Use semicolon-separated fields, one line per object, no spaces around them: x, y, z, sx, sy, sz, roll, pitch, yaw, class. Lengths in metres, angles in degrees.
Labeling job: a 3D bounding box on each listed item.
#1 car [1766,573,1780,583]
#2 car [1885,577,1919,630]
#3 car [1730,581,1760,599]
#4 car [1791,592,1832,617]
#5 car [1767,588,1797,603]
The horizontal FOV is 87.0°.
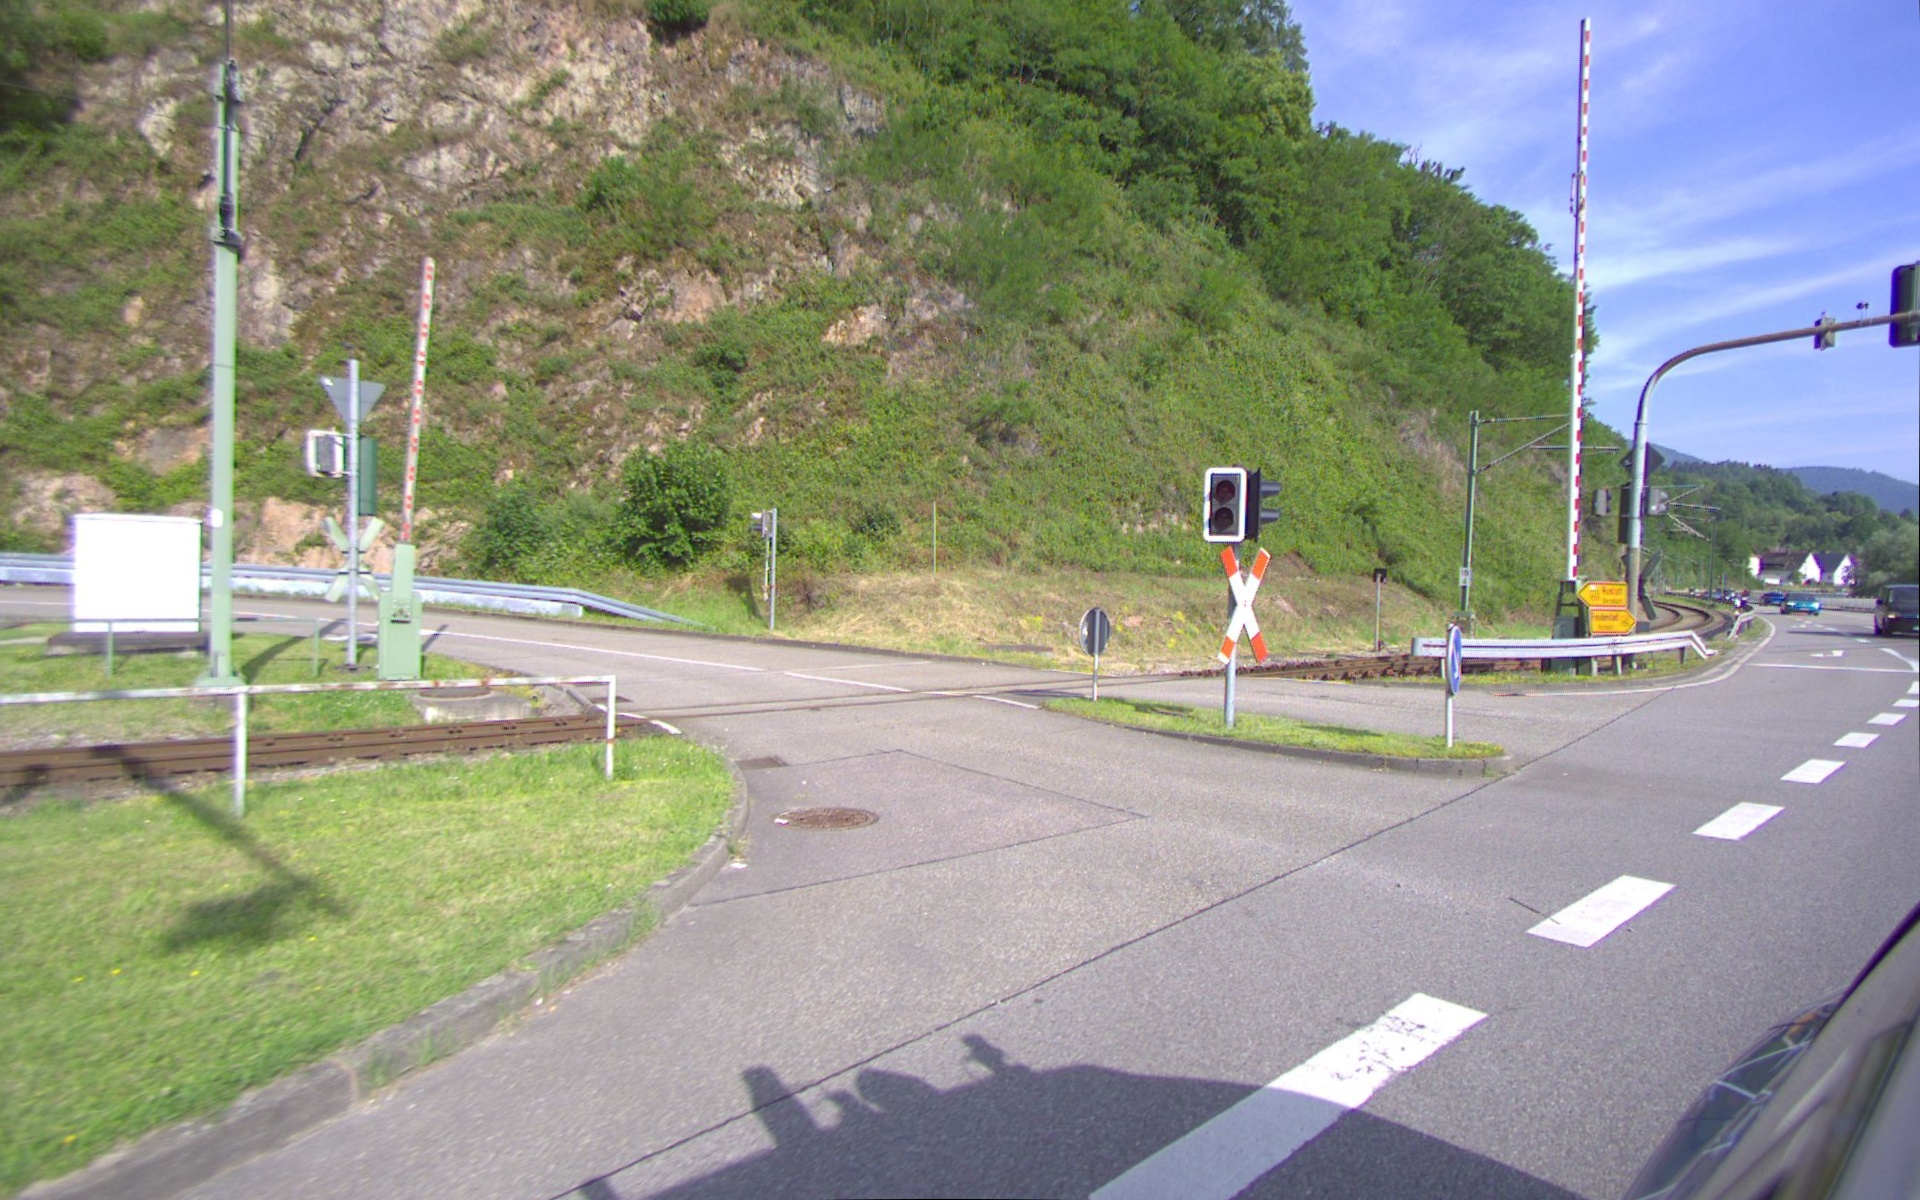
157.840;-4.246;196.469;1.989;2.039;3.946;1;1;37;car
35.973;0.113;37.707;1.901;1.903;4.286;-1;-1;39;car
78.156;-1.010;100.835;1.985;1.816;3.954;1;1;33;car
58.334;0.295;69.367;1.758;1.478;3.532;4;4;35;car
85.947;-0.524;105.852;1.774;1.500;4.476;1;2;31;car
